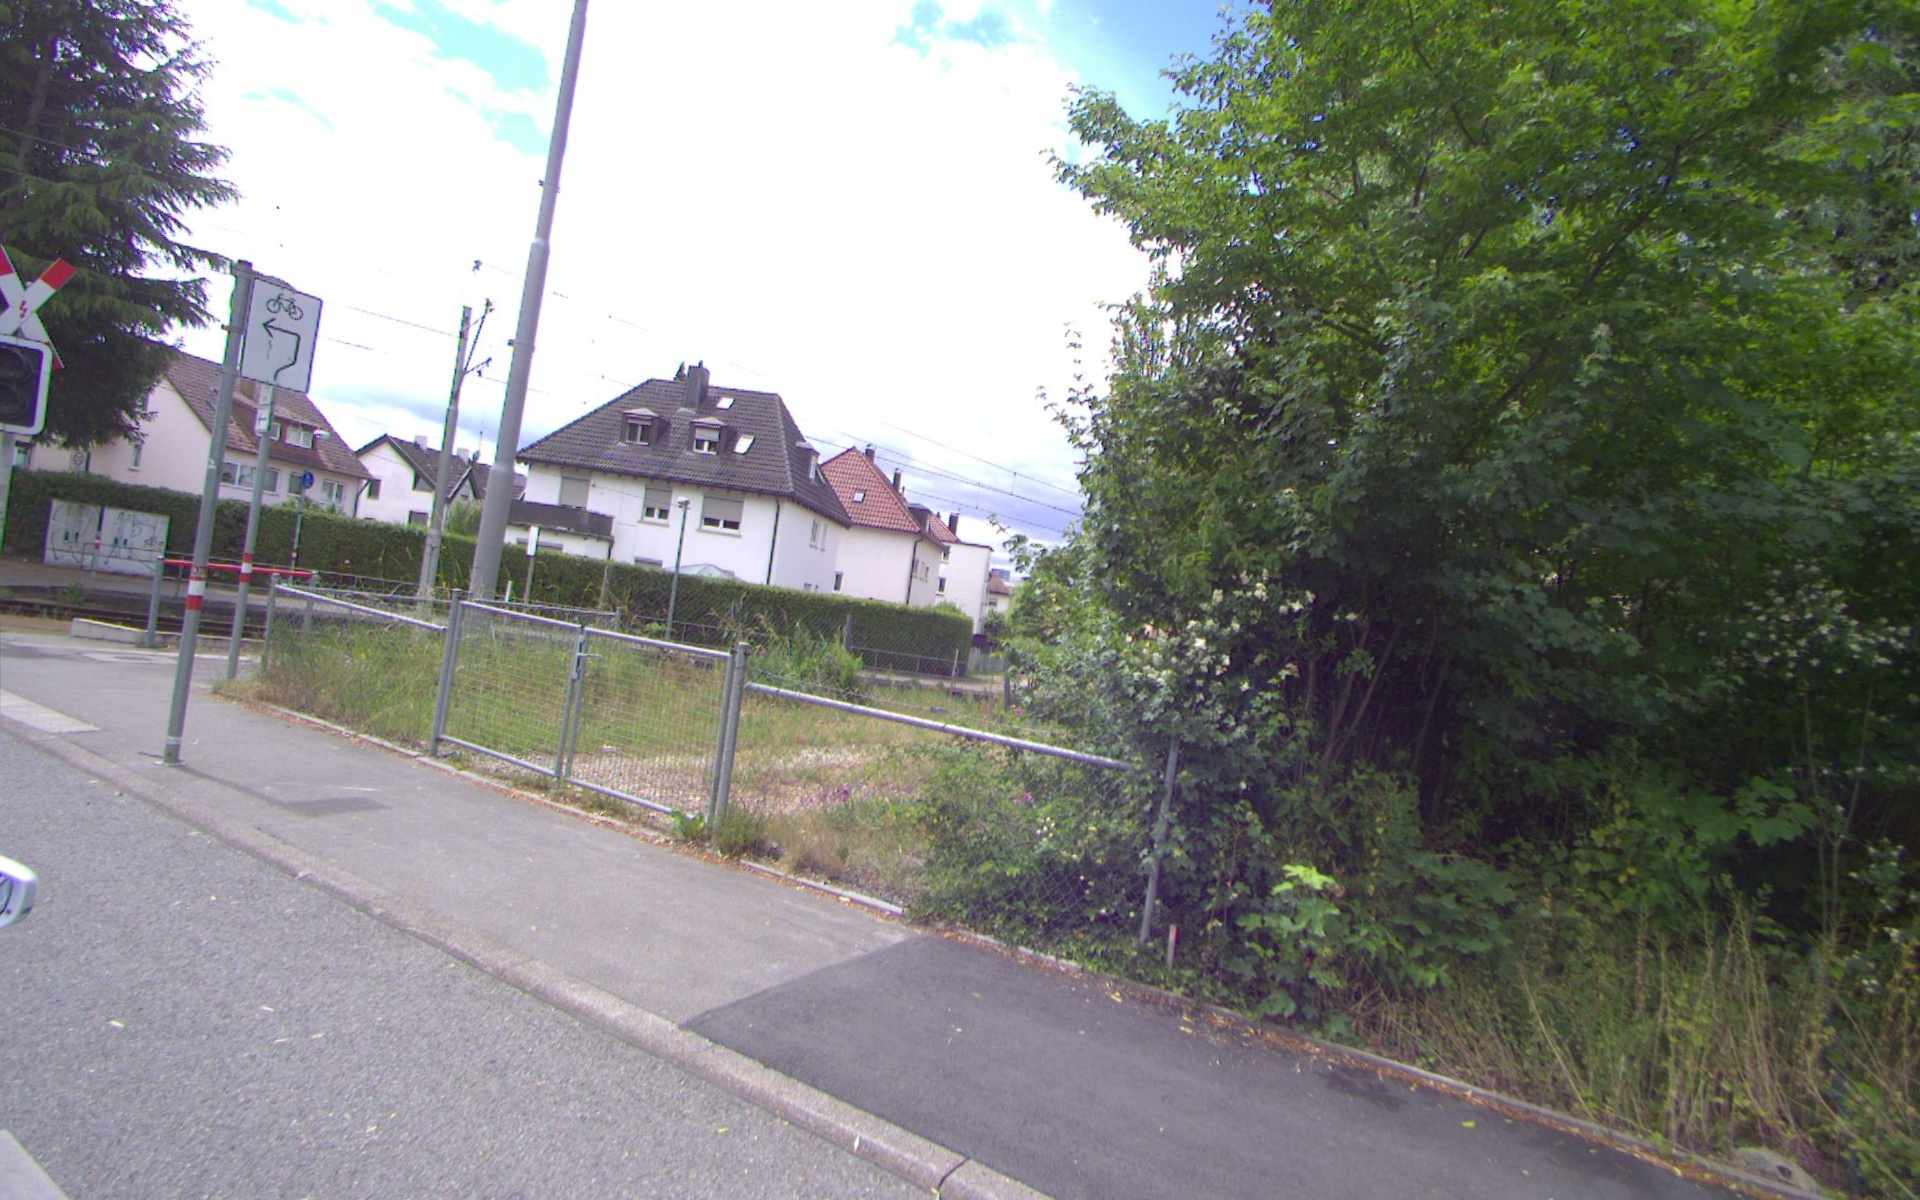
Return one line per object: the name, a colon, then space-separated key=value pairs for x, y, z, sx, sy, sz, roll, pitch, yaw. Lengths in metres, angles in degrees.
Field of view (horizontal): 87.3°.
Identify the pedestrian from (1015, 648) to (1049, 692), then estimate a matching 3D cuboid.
pedestrian: x=3.083 y=2.997 z=43.200 sx=0.910 sy=1.707 sz=0.925 roll=8 pitch=-1 yaw=-31
